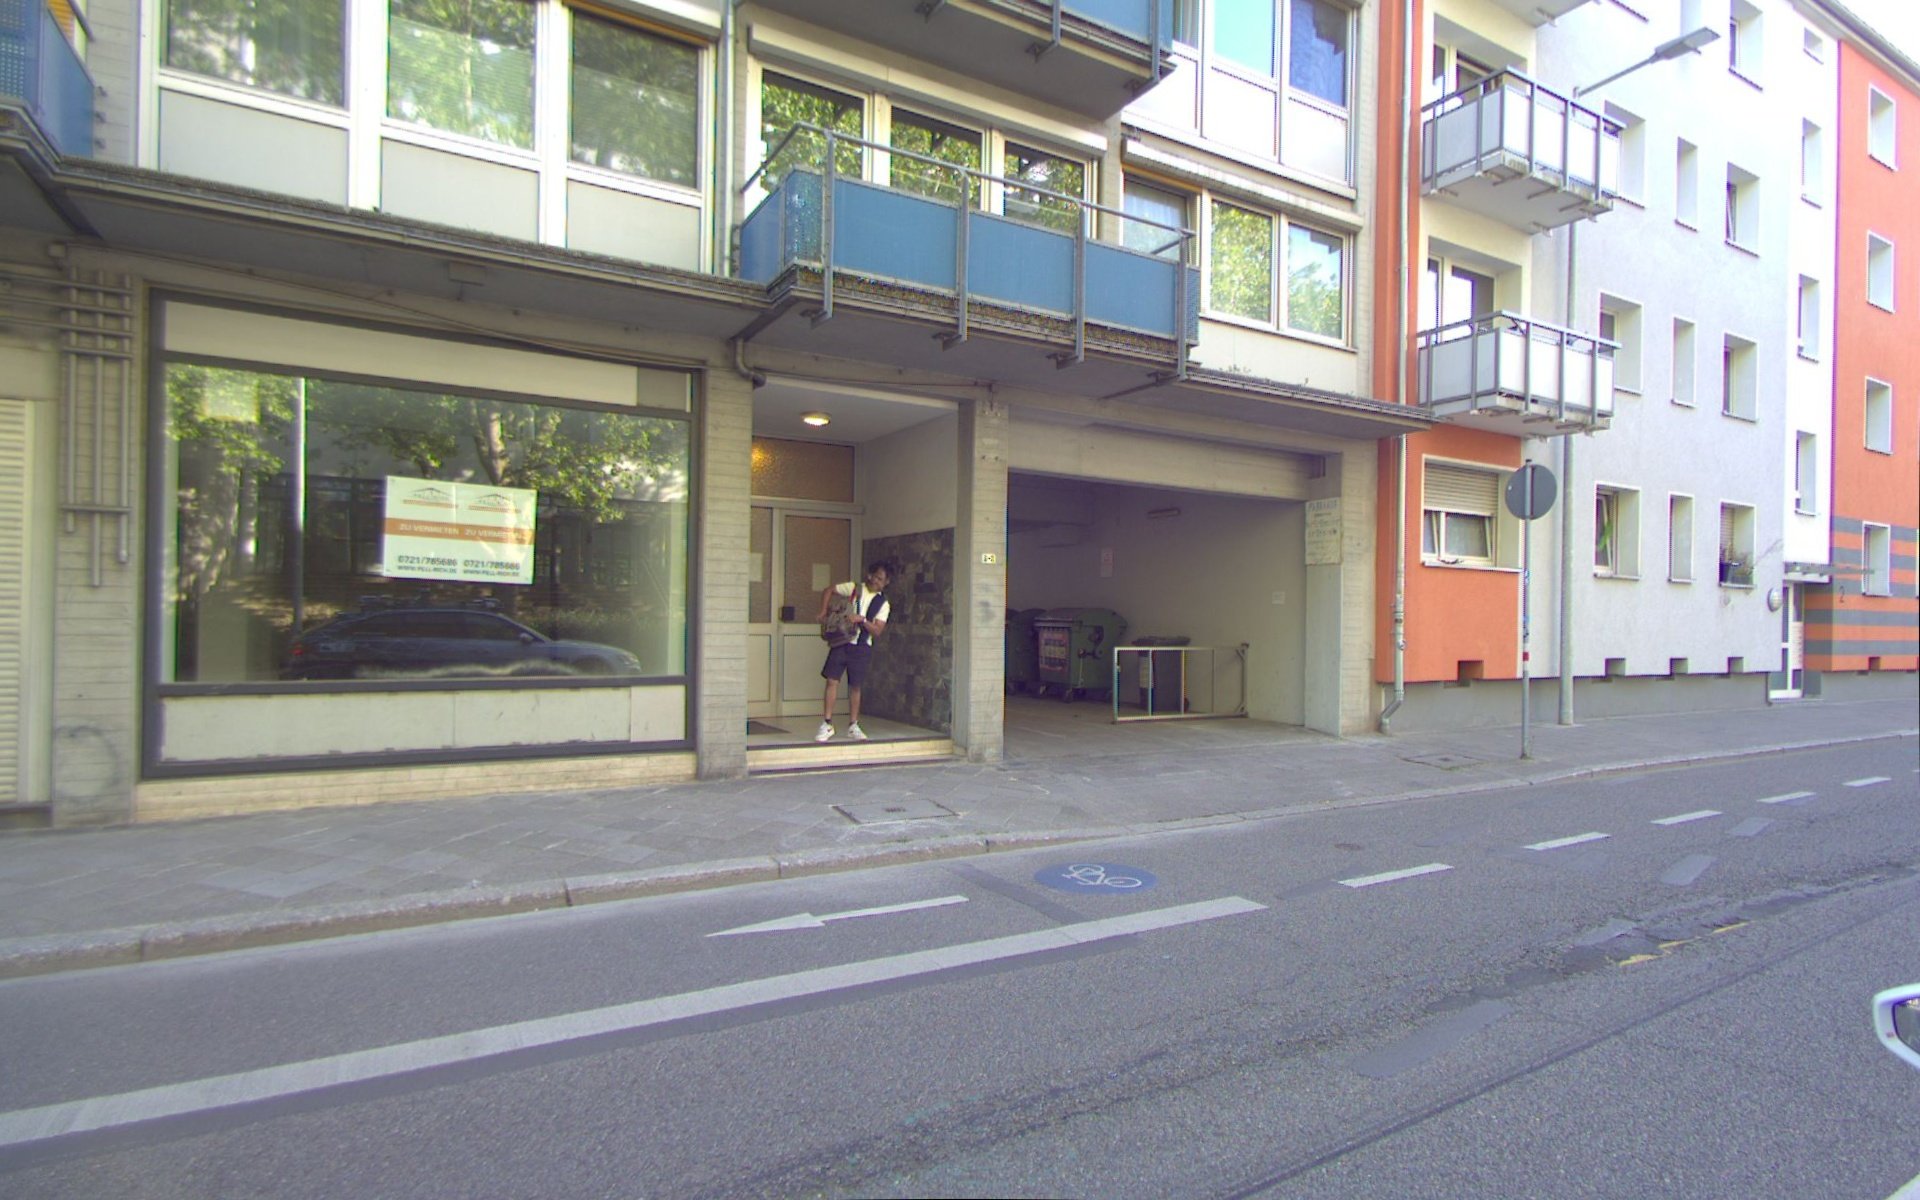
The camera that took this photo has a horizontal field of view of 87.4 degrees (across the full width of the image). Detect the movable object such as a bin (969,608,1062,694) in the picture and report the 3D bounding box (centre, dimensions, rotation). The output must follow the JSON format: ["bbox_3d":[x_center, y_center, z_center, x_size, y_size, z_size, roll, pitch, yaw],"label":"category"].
[{"bbox_3d":[0.934,0.844,17.117,1.066,1.384,1.255,2,0,-27],"label":"movable object such as a bin"}]

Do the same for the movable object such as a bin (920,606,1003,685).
[{"bbox_3d":[0.023,0.824,18.686,1.066,1.384,1.255,2,0,-27],"label":"movable object such as a bin"}]

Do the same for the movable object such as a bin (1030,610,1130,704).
[{"bbox_3d":[1.876,0.867,15.803,1.066,1.384,1.192,2,0,-27],"label":"movable object such as a bin"}]

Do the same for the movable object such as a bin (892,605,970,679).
[{"bbox_3d":[-0.586,0.811,19.856,1.066,1.384,1.255,2,0,-27],"label":"movable object such as a bin"}]

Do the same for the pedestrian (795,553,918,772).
[{"bbox_3d":[-0.961,0.552,9.245,0.882,1.902,0.703,2,0,-28],"label":"pedestrian"}]

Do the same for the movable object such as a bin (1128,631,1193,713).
[{"bbox_3d":[2.876,1.026,14.452,0.650,1.115,0.626,2,0,-27],"label":"movable object such as a bin"}]

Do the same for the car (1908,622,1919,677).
[{"bbox_3d":[30.077,1.514,28.460,1.834,1.591,4.351,2,0,-29],"label":"car"}]
